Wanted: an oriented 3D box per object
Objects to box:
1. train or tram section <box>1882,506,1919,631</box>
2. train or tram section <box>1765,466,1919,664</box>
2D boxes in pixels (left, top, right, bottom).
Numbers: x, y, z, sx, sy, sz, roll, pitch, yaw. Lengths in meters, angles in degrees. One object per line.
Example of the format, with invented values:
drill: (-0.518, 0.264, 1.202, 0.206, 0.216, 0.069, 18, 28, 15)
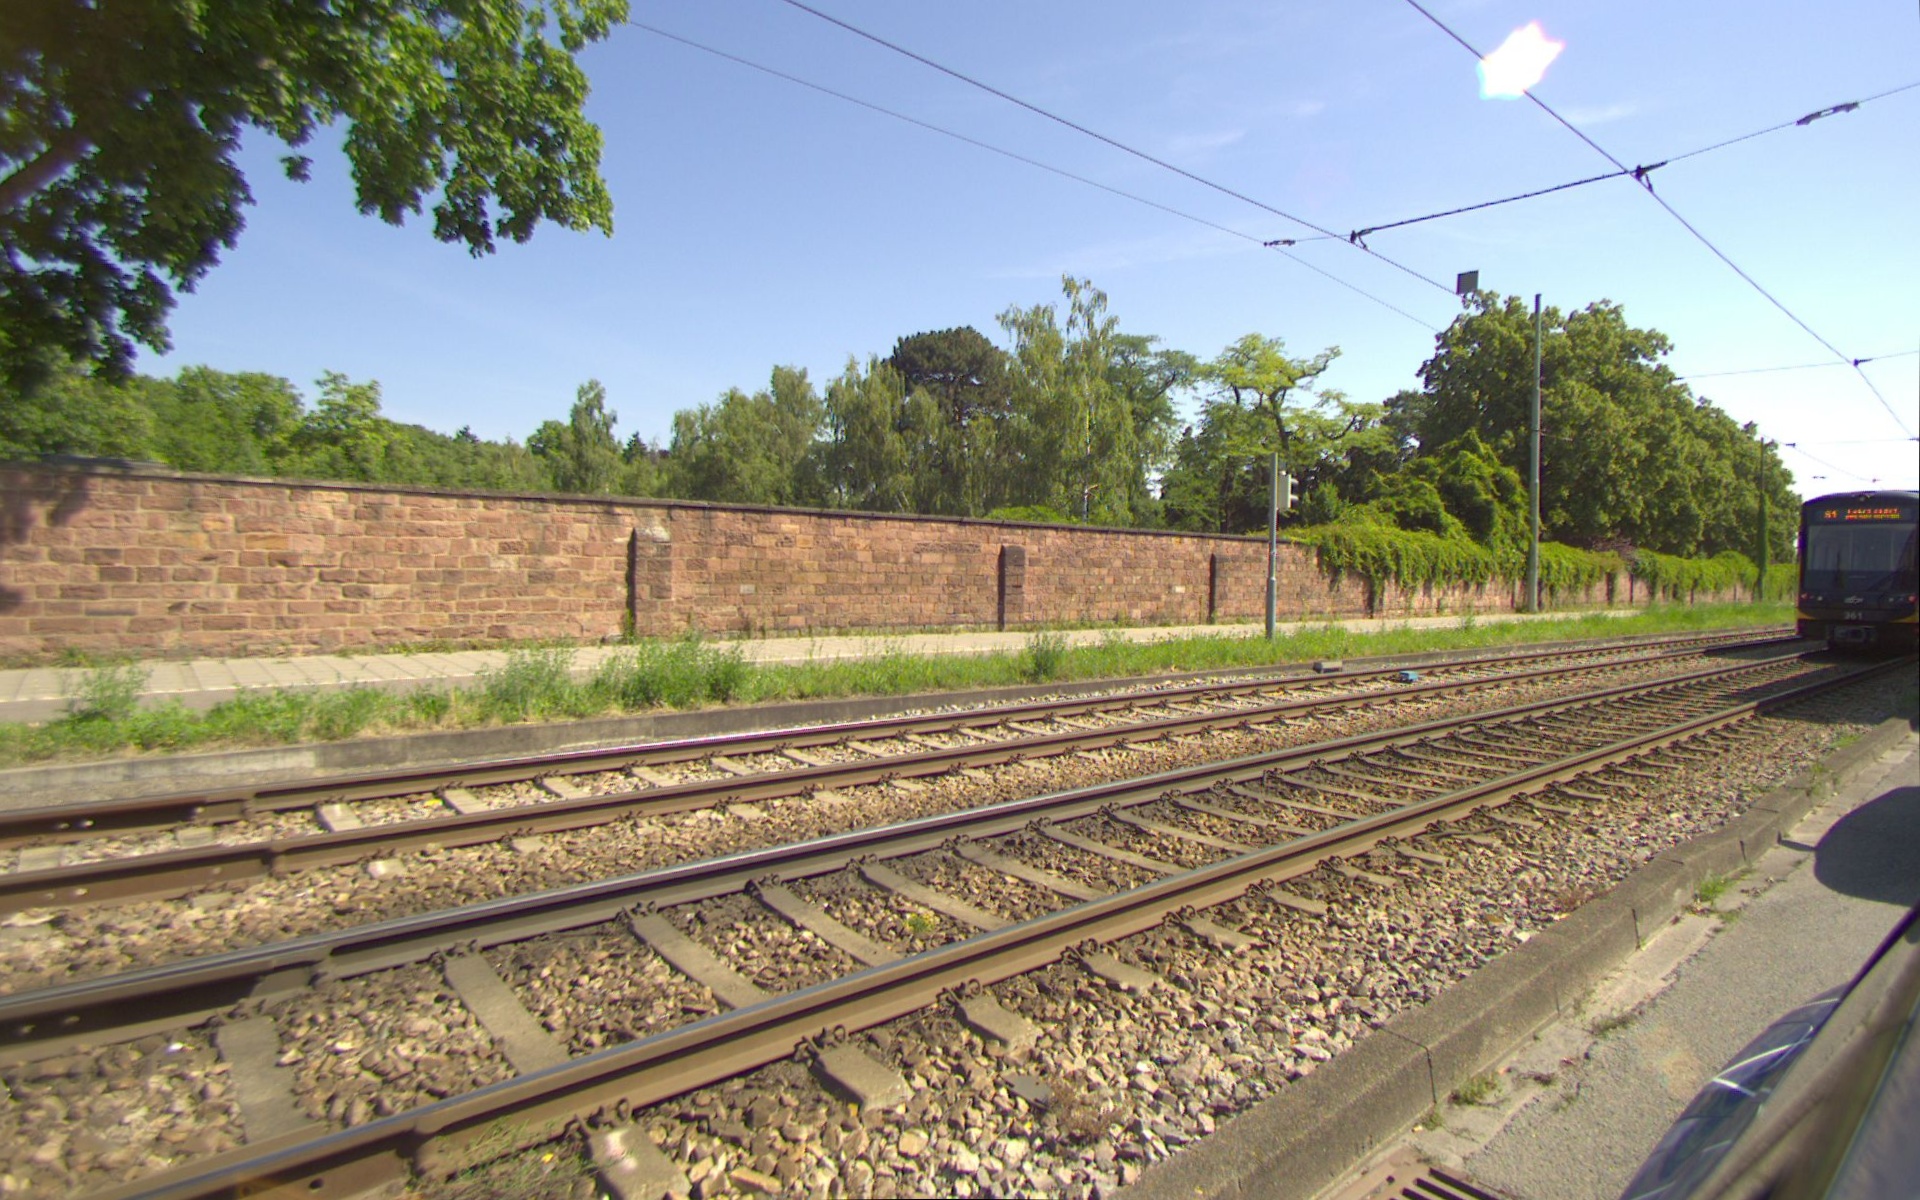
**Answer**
train or tram section: (35.610, -1.091, 35.591, 18.630, 3.698, 2.677, -1, 1, -41)
train or tram section: (22.974, -0.776, 24.533, 15.039, 3.698, 2.674, -1, 1, -41)
